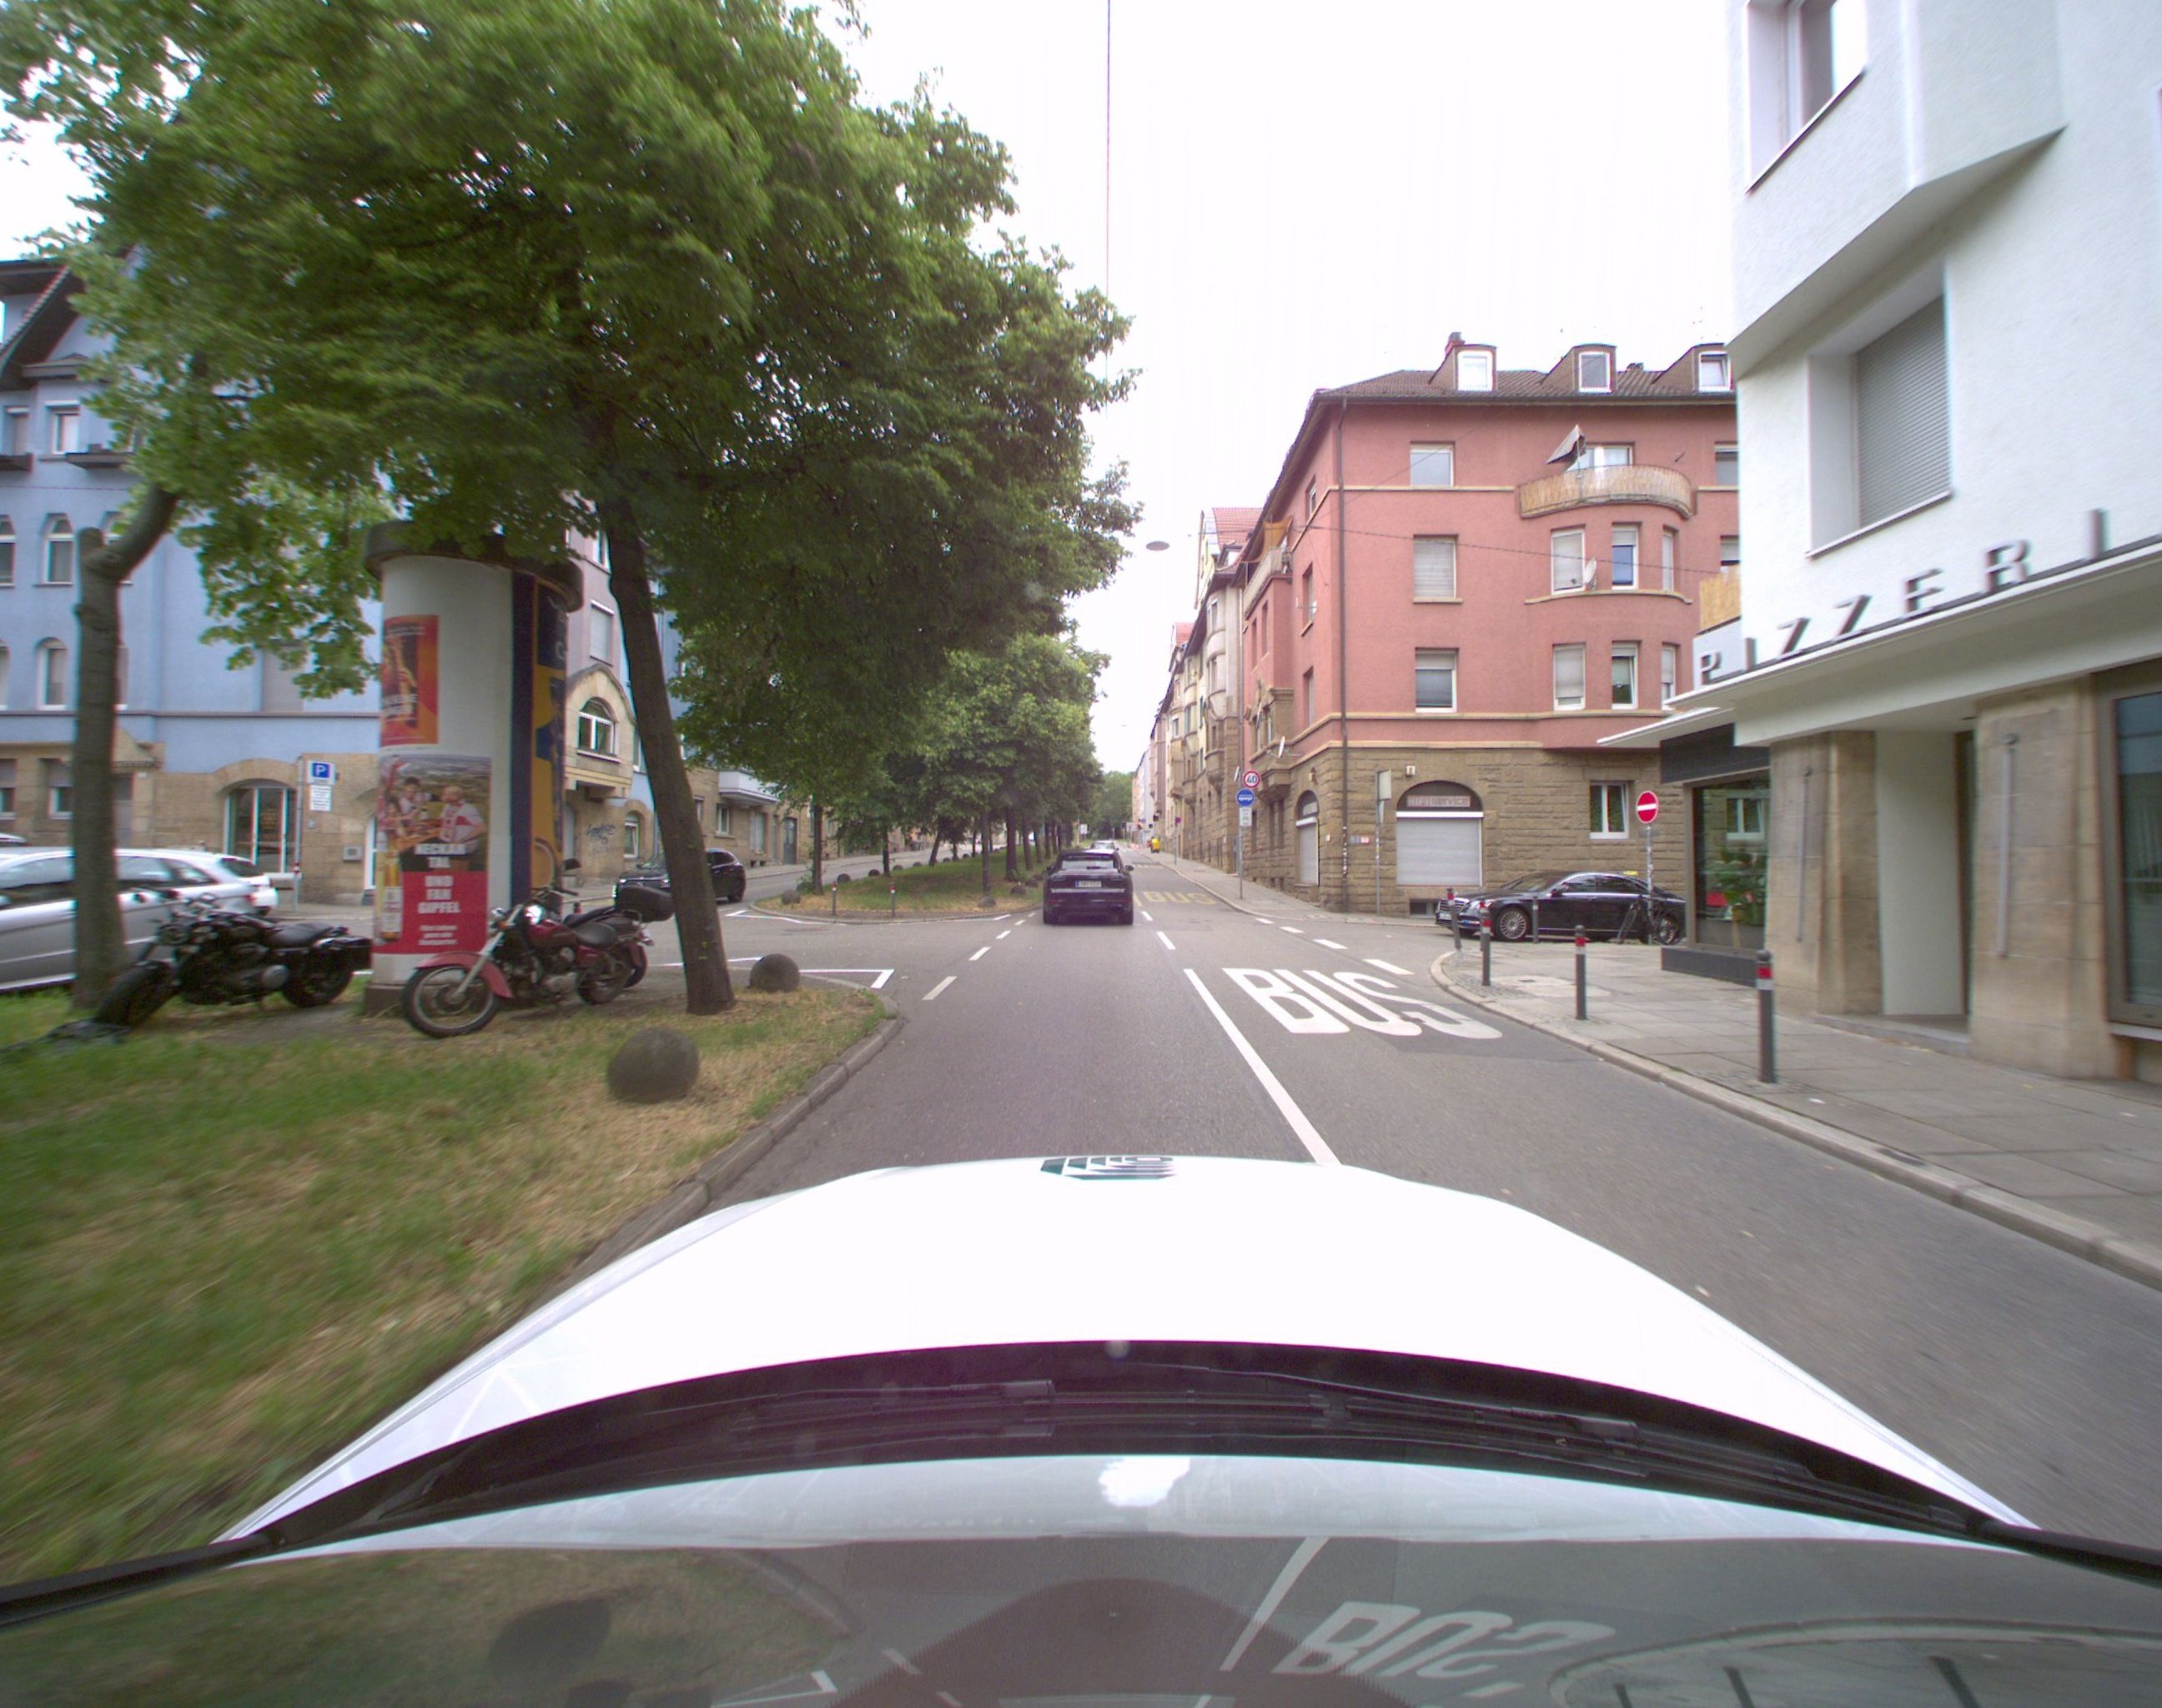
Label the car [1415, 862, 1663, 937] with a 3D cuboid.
[{"bbox_3d":[9.306,0.927,16.784,3.978,1.376,1.997,-1,-3,-4],"label":"car"}]

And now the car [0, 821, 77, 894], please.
[{"bbox_3d":[-25.810,0.078,18.146,4.776,1.577,2.003,0,0,6],"label":"car"}]

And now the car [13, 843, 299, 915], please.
[{"bbox_3d":[-20.085,0.509,17.825,3.973,1.497,2.000,0,0,1],"label":"car"}]

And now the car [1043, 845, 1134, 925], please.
[{"bbox_3d":[0.159,0.654,19.065,1.897,1.666,4.135,0,0,0],"label":"car"}]

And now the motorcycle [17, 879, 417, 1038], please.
[{"bbox_3d":[-7.004,0.770,6.868,0.897,1.107,2.252,-1,-2,2],"label":"motorcycle"}]

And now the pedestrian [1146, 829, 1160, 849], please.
[{"bbox_3d":[7.340,-1.485,83.250,1.300,2.013,1.017,0,0,-8],"label":"pedestrian"}]

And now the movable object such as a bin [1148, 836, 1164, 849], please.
[{"bbox_3d":[7.507,-1.114,81.857,1.236,1.274,1.841,0,0,-8],"label":"movable object such as a bin"}]

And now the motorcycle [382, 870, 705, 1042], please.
[{"bbox_3d":[-4.343,0.741,6.943,1.058,1.148,2.449,-1,0,2],"label":"motorcycle"}]

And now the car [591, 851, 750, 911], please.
[{"bbox_3d":[-11.095,0.663,22.460,1.986,1.483,4.533,0,0,1],"label":"car"}]

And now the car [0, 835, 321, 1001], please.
[{"bbox_3d":[-11.506,0.622,8.792,1.986,1.624,4.817,0,0,2],"label":"car"}]

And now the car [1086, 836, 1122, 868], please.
[{"bbox_3d":[1.363,-0.110,47.879,1.986,1.753,4.002,0,0,2],"label":"car"}]
